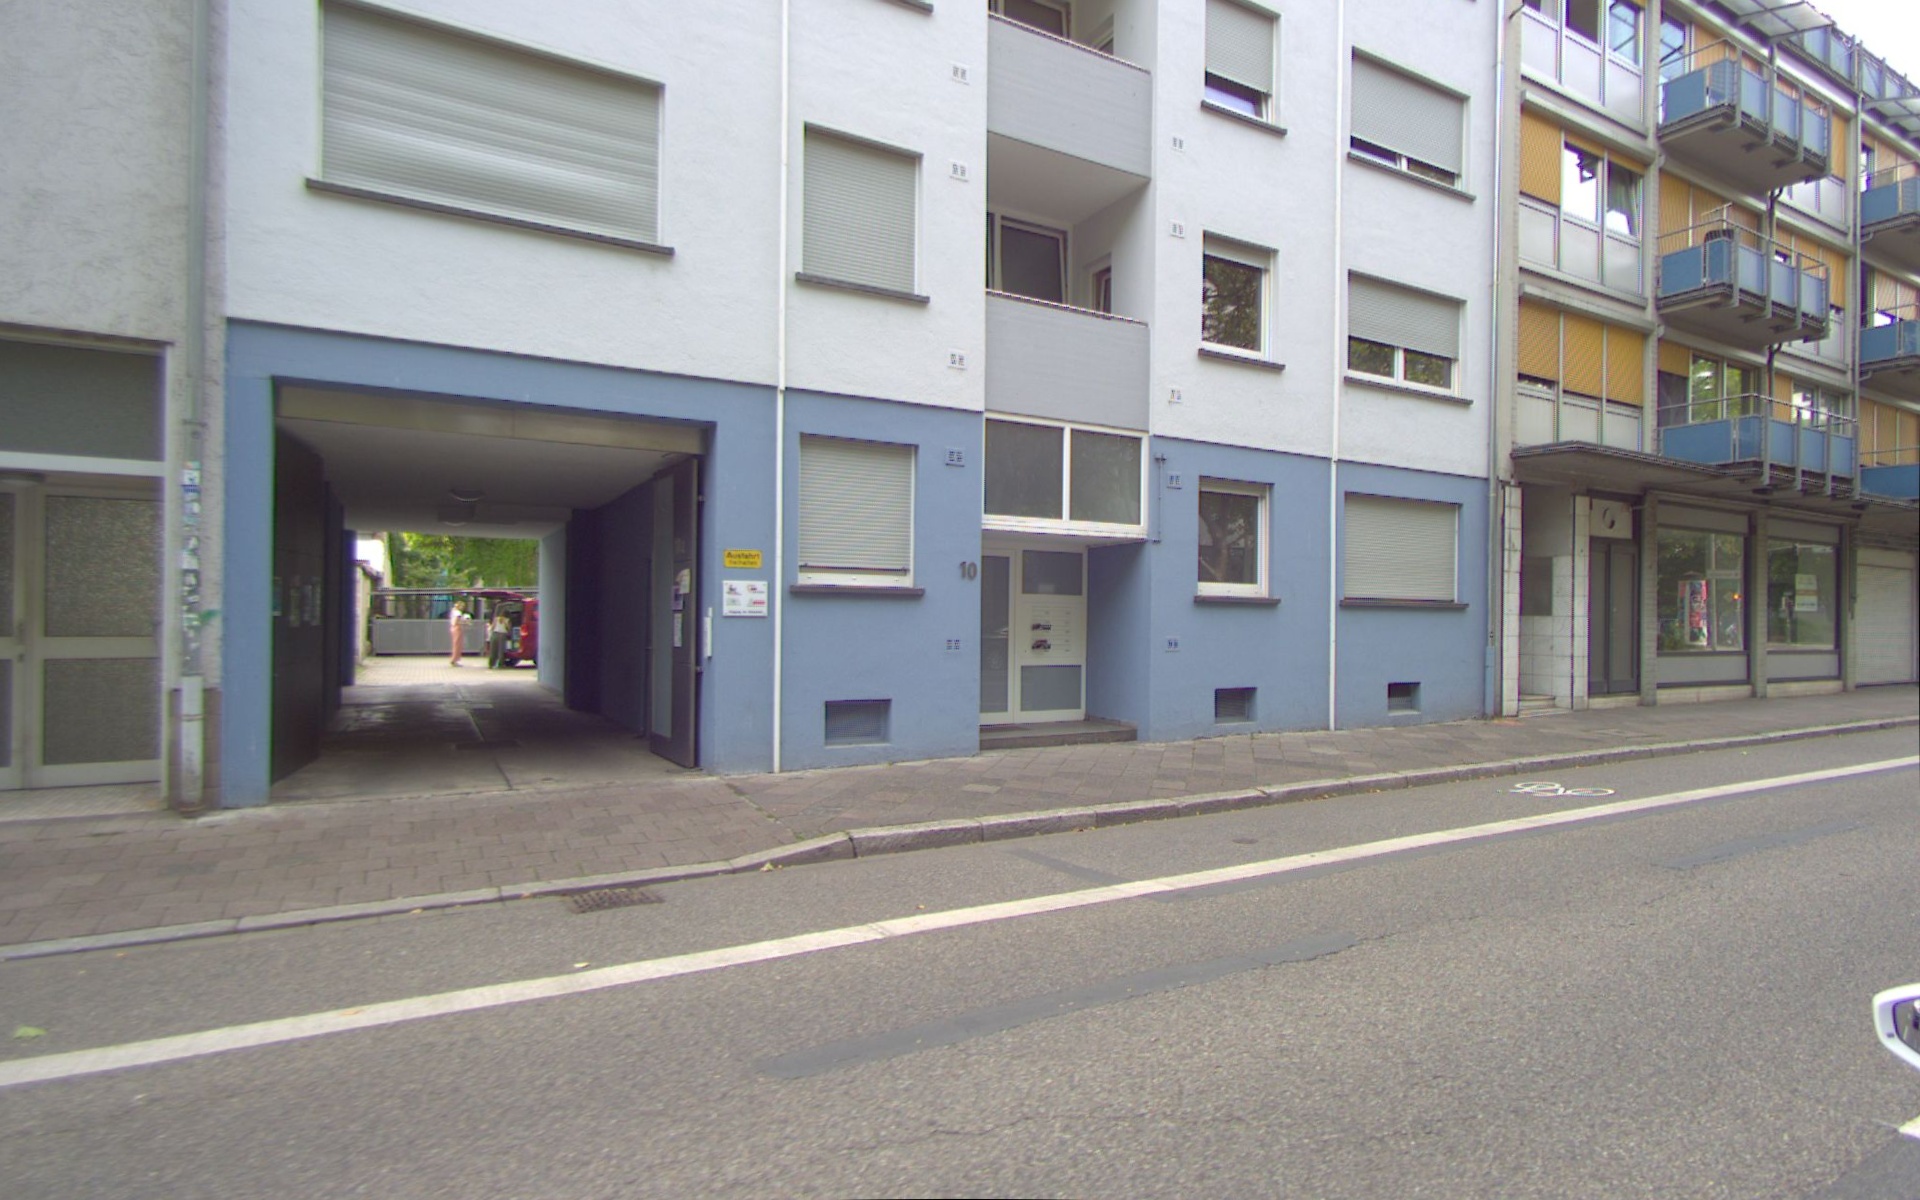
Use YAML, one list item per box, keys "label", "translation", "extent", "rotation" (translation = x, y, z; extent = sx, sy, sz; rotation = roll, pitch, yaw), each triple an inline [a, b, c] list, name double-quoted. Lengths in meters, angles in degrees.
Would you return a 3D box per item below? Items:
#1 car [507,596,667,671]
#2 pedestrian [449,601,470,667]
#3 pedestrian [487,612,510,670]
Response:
- label: "car"
  translation: [-10.494, 0.928, 28.301]
  extent: [3.953, 1.960, 1.984]
  rotation: [1, -1, -30]
- label: "pedestrian"
  translation: [-13.625, 0.922, 27.316]
  extent: [0.474, 1.788, 0.372]
  rotation: [1, -1, -30]
- label: "pedestrian"
  translation: [-12.328, 1.094, 26.824]
  extent: [0.370, 1.532, 0.412]
  rotation: [0, -1, 39]
